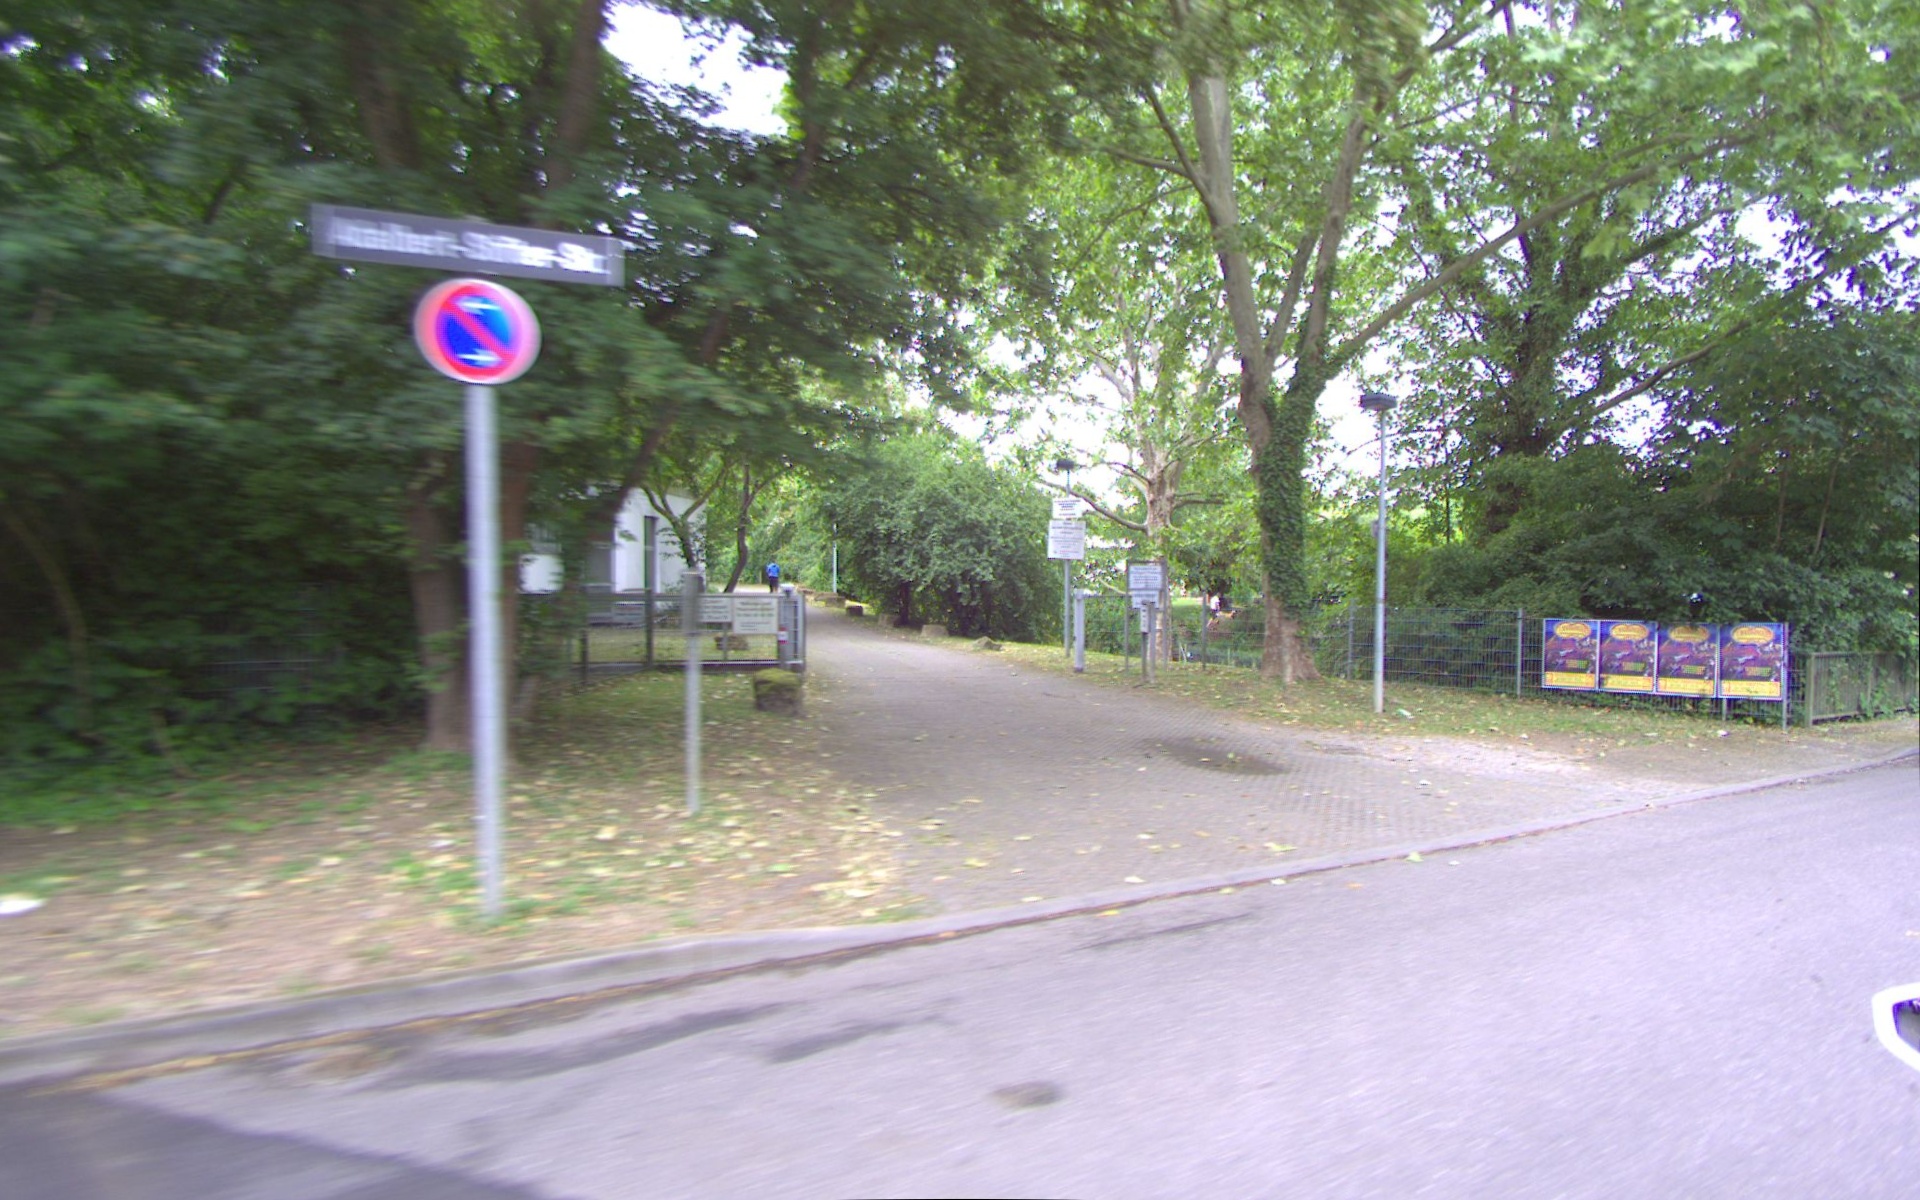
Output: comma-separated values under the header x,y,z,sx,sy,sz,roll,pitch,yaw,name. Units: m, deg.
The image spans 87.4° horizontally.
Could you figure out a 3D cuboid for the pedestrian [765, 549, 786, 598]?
x,y,z,sx,sy,sz,roll,pitch,yaw,name
-8.041,-1.146,43.789,0.783,2.040,0.991,2,0,-14,pedestrian
